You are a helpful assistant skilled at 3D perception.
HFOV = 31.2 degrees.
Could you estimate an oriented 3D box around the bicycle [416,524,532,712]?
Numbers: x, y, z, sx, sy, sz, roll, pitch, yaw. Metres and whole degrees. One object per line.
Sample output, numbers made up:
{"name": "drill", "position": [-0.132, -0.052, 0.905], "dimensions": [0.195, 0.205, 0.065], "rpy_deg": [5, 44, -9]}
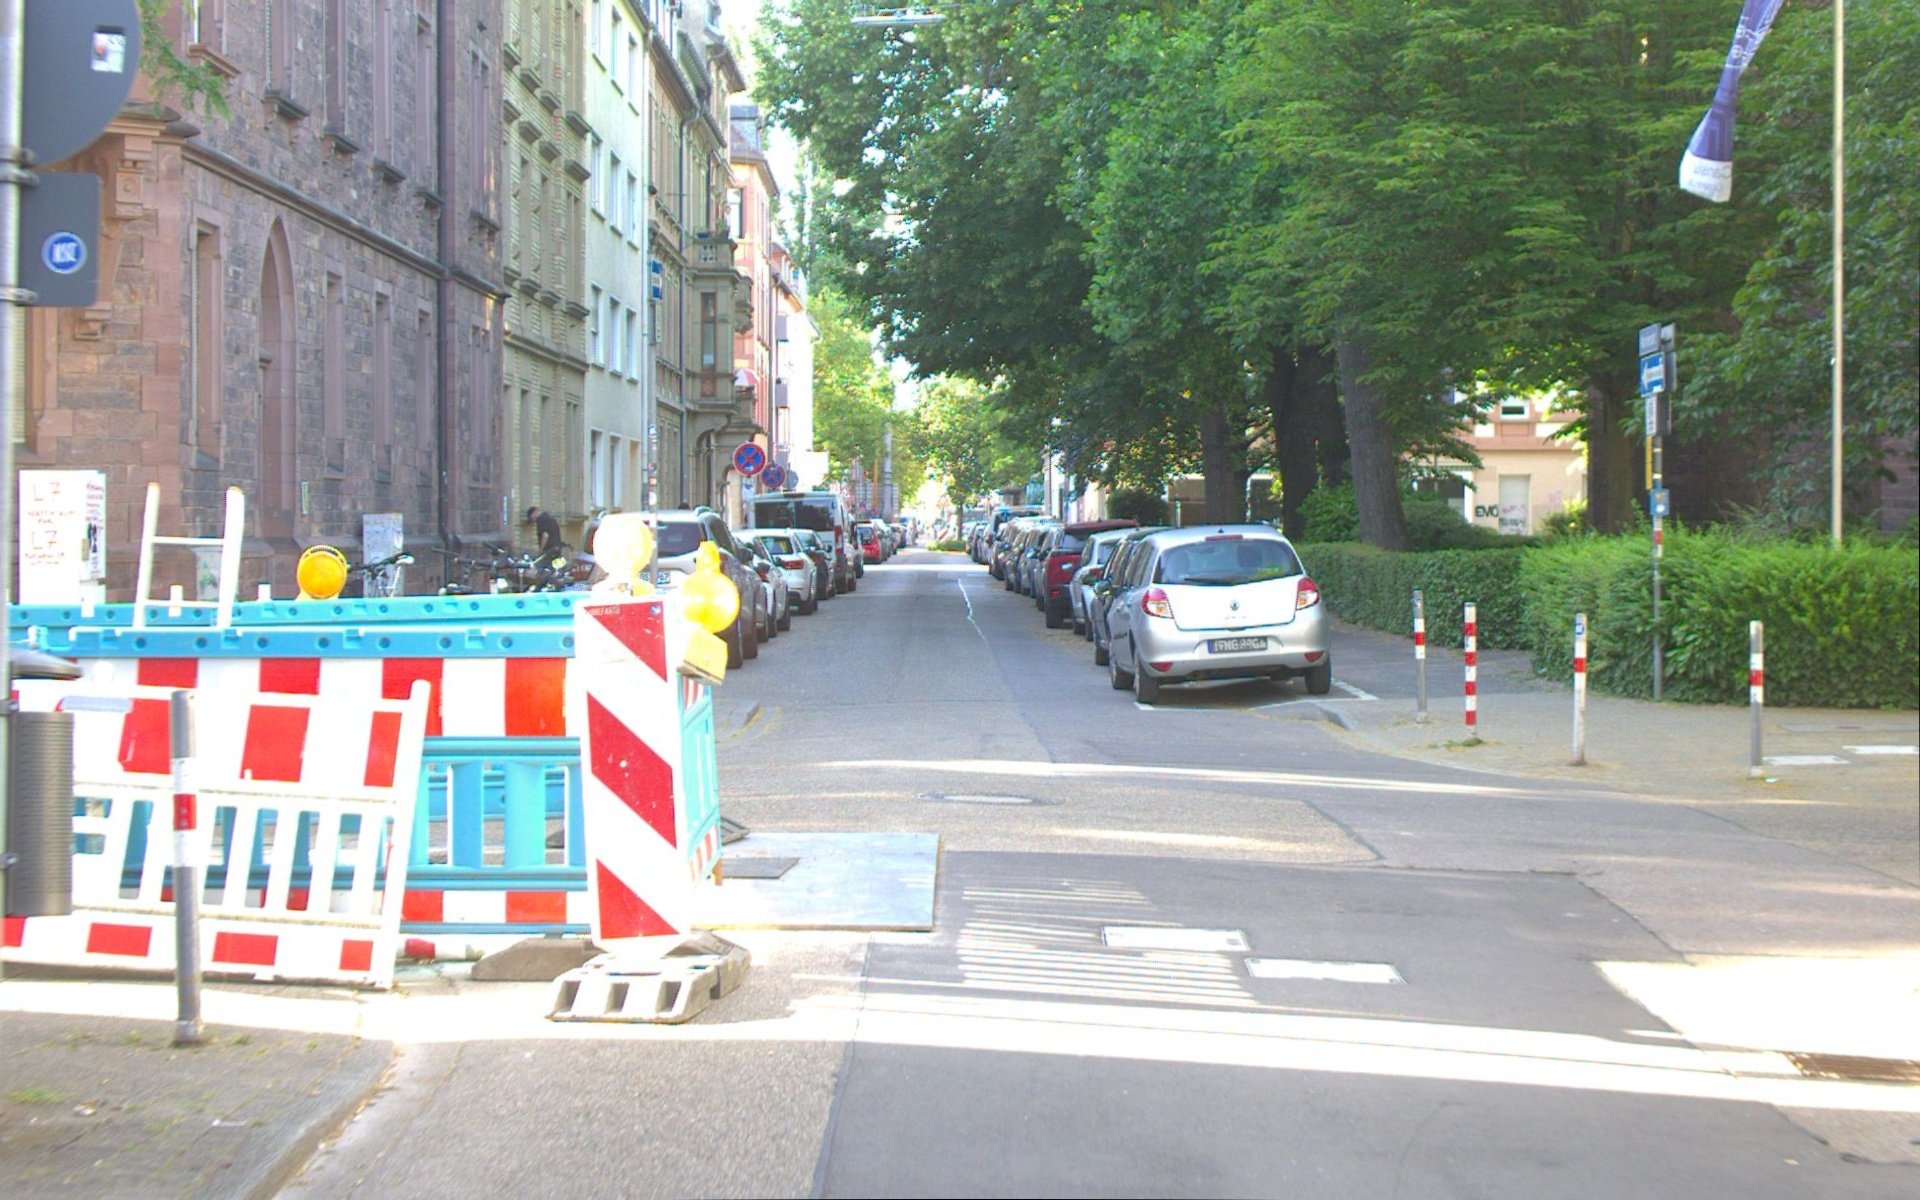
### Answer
{"name": "bicycle", "position": [-3.868, 0.105, 27.226], "dimensions": [0.572, 1.418, 2.503], "rpy_deg": [0, 1, -16]}

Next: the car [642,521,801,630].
{"name": "car", "position": [-3.278, -0.365, 47.959], "dimensions": [1.882, 1.406, 4.000], "rpy_deg": [-1, 1, 0]}

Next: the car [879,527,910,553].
{"name": "car", "position": [-4.240, -3.902, 222.583], "dimensions": [1.993, 1.641, 4.000], "rpy_deg": [0, 1, -1]}

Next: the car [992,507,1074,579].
{"name": "car", "position": [1.740, -1.399, 83.122], "dimensions": [1.829, 1.698, 4.001], "rpy_deg": [0, 1, -1]}

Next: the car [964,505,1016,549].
{"name": "car", "position": [1.203, -2.982, 139.914], "dimensions": [1.993, 1.722, 4.000], "rpy_deg": [-1, 2, -1]}

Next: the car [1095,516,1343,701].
{"name": "car", "position": [2.254, 0.020, 30.868], "dimensions": [1.723, 1.517, 4.001], "rpy_deg": [-1, 2, -3]}

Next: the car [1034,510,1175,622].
{"name": "car", "position": [2.143, -0.530, 52.061], "dimensions": [1.894, 1.619, 4.000], "rpy_deg": [0, 1, -1]}

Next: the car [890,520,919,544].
{"name": "car", "position": [-3.920, -4.818, 244.203], "dimensions": [1.993, 1.641, 4.000], "rpy_deg": [0, 1, -1]}

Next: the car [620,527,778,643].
{"name": "car", "position": [-3.254, -0.226, 43.446], "dimensions": [1.725, 1.388, 4.000], "rpy_deg": [0, 1, -1]}

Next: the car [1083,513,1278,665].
{"name": "car", "position": [2.278, -0.143, 36.399], "dimensions": [1.723, 1.517, 4.000], "rpy_deg": [0, 1, -1]}

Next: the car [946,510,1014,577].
{"name": "car", "position": [0.536, -1.564, 94.570], "dimensions": [1.689, 1.722, 4.001], "rpy_deg": [3, 1, -1]}

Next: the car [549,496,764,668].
{"name": "car", "position": [-3.190, -0.218, 36.881], "dimensions": [1.882, 1.701, 4.000], "rpy_deg": [-1, 1, 0]}

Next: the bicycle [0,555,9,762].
{"name": "bicycle", "position": [-6.511, 0.424, 21.132], "dimensions": [0.683, 1.316, 2.143], "rpy_deg": [0, 3, 1]}

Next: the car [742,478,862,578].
{"name": "car", "position": [-3.393, -1.562, 74.944], "dimensions": [2.309, 2.107, 5.170], "rpy_deg": [0, 1, 1]}

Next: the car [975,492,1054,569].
{"name": "car", "position": [1.590, -2.062, 102.277], "dimensions": [2.160, 2.248, 4.526], "rpy_deg": [0, 1, -1]}

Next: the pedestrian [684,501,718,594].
{"name": "pedestrian", "position": [-5.607, -1.140, 74.291], "dimensions": [0.684, 2.007, 0.692], "rpy_deg": [0, 1, -7]}

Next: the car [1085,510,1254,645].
{"name": "car", "position": [2.510, -0.303, 42.039], "dimensions": [1.741, 1.568, 4.000], "rpy_deg": [0, 1, -1]}

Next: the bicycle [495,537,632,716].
{"name": "bicycle", "position": [-3.159, 0.178, 27.178], "dimensions": [0.682, 1.340, 2.503], "rpy_deg": [0, 1, -16]}

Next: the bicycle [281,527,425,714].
{"name": "bicycle", "position": [-4.845, 0.128, 27.613], "dimensions": [0.683, 1.418, 2.798], "rpy_deg": [0, 1, -1]}

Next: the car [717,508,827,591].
{"name": "car", "position": [-3.637, -0.991, 67.105], "dimensions": [1.993, 1.568, 4.000], "rpy_deg": [0, 1, -1]}

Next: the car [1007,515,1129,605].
{"name": "car", "position": [1.913, -0.736, 61.935], "dimensions": [1.993, 1.568, 4.000], "rpy_deg": [0, 1, -1]}

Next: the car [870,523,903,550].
{"name": "car", "position": [-4.563, -3.961, 213.502], "dimensions": [1.993, 1.641, 4.000], "rpy_deg": [0, 1, -1]}

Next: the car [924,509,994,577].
{"name": "car", "position": [-0.042, -1.510, 89.673], "dimensions": [1.754, 1.744, 4.001], "rpy_deg": [0, 1, -1]}

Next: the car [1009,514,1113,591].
{"name": "car", "position": [2.091, -1.001, 72.232], "dimensions": [1.993, 1.568, 4.000], "rpy_deg": [0, 1, -1]}

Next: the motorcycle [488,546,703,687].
{"name": "motorcycle", "position": [-3.259, 0.127, 30.531], "dimensions": [0.664, 1.203, 2.310], "rpy_deg": [-1, 1, -42]}

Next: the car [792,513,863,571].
{"name": "car", "position": [-3.657, -1.621, 95.590], "dimensions": [1.902, 1.568, 4.000], "rpy_deg": [0, 1, -1]}

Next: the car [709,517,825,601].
{"name": "car", "position": [-3.202, -0.710, 57.641], "dimensions": [1.771, 1.348, 4.000], "rpy_deg": [0, 1, -1]}

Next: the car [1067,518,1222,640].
{"name": "car", "position": [2.493, -0.327, 47.231], "dimensions": [1.841, 1.590, 4.000], "rpy_deg": [0, 1, -1]}
